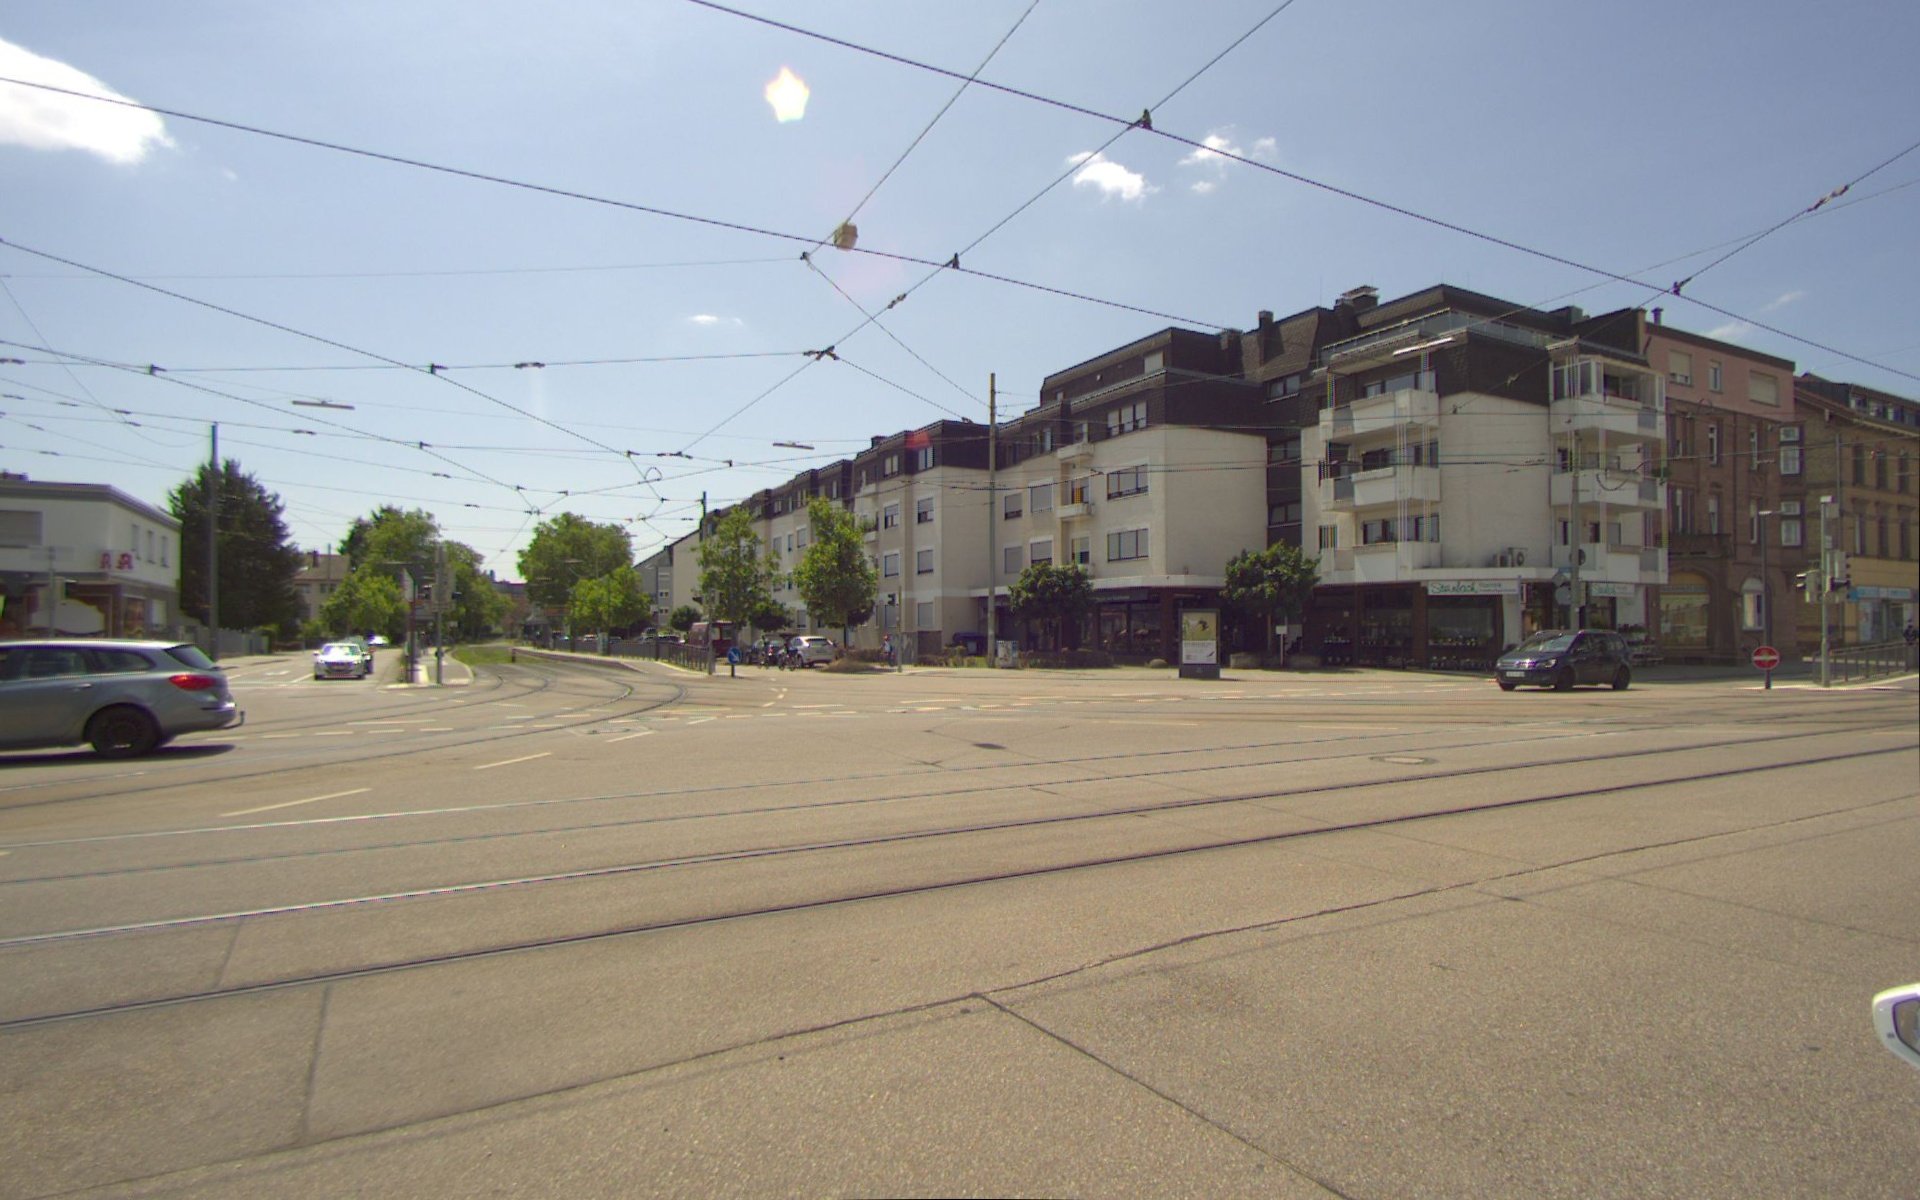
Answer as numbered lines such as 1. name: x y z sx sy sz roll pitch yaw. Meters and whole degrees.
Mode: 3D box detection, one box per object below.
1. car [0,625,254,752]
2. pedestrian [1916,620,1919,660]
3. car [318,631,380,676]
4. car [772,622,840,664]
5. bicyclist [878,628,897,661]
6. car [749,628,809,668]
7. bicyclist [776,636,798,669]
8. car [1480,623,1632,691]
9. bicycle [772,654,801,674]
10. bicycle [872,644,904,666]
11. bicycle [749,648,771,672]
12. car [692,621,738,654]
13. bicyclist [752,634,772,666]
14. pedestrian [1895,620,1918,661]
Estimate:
1. car: -11.673 1.073 12.654 4.349 1.491 1.984 1 -2 -30
2. pedestrian: 49.074 2.034 50.981 0.677 2.040 0.673 1 -1 -31
3. car: -25.165 2.247 41.489 1.876 1.747 3.828 1 -4 -27
4. car: -7.466 2.084 48.484 1.977 1.937 3.968 1 -2 -30
5. bicyclist: -3.383 2.080 46.858 0.648 1.487 0.843 1 -4 -27
6. car: -9.765 2.612 54.024 1.977 2.039 3.969 2 -4 -30
7. bicyclist: -7.713 2.348 44.791 0.624 1.441 0.955 2 -4 -34
8. car: 16.224 1.511 27.325 4.229 1.705 1.716 1 -2 -30
9. bicycle: -7.763 2.854 44.826 0.414 0.892 2.237 2 -4 -34
10. bicycle: -3.391 2.576 46.870 0.663 0.946 2.242 1 -4 -27
11. bicycle: -9.683 2.926 48.652 0.510 1.115 2.244 1 -4 -25
12. car: -15.495 2.378 63.435 1.974 2.040 3.973 1 -2 -27
13. bicyclist: -9.518 2.426 48.296 0.727 1.506 0.848 1 -4 -26
14. pedestrian: 48.641 2.077 51.606 0.801 2.040 0.614 1 -2 -31
